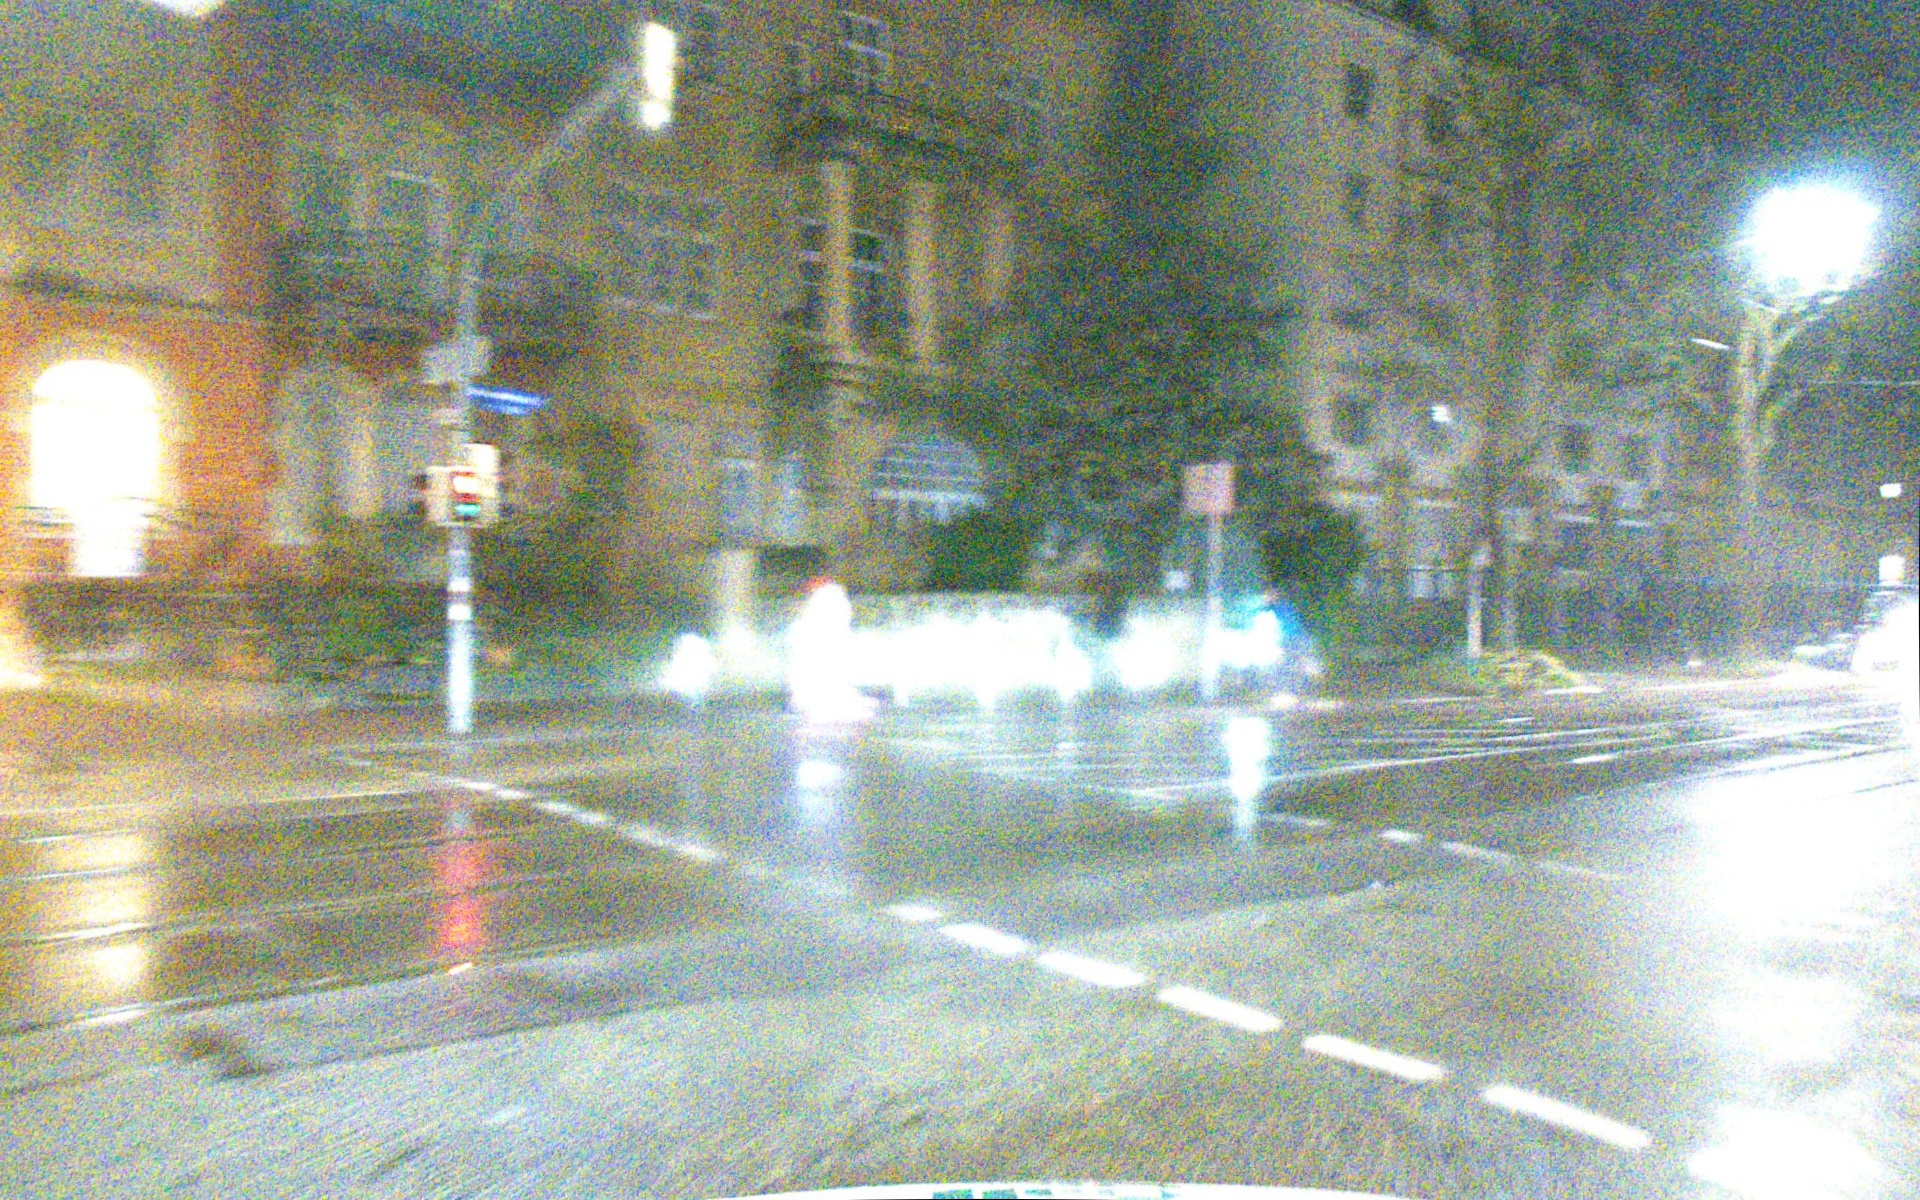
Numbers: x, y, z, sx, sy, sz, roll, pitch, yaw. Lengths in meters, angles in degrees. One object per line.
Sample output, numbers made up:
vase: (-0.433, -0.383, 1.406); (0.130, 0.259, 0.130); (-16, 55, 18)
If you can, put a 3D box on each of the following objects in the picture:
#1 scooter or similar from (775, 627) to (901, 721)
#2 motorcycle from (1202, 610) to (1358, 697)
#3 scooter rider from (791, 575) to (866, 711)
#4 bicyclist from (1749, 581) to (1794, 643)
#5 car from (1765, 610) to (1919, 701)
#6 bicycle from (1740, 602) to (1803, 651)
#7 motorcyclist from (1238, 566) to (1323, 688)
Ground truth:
scooter or similar: (-1.471, 0.886, 19.955); (1.351, 1.070, 0.635); (2, 1, -31)
motorcycle: (4.753, 0.789, 24.545); (2.288, 1.252, 0.704); (1, -2, -25)
scooter rider: (-1.601, 0.515, 20.105); (0.643, 1.600, 0.636); (2, 1, -31)
bicyclist: (20.275, 0.298, 41.328); (0.859, 1.490, 0.647); (2, 1, -39)
car: (21.576, 1.276, 39.976); (5.265, 1.857, 1.970); (-1, 4, -43)
bicycle: (20.309, 0.668, 41.372); (1.879, 1.161, 0.647); (2, 1, -39)
motorcyclist: (4.753, 0.406, 24.562); (1.012, 1.761, 0.704); (1, -2, -24)
